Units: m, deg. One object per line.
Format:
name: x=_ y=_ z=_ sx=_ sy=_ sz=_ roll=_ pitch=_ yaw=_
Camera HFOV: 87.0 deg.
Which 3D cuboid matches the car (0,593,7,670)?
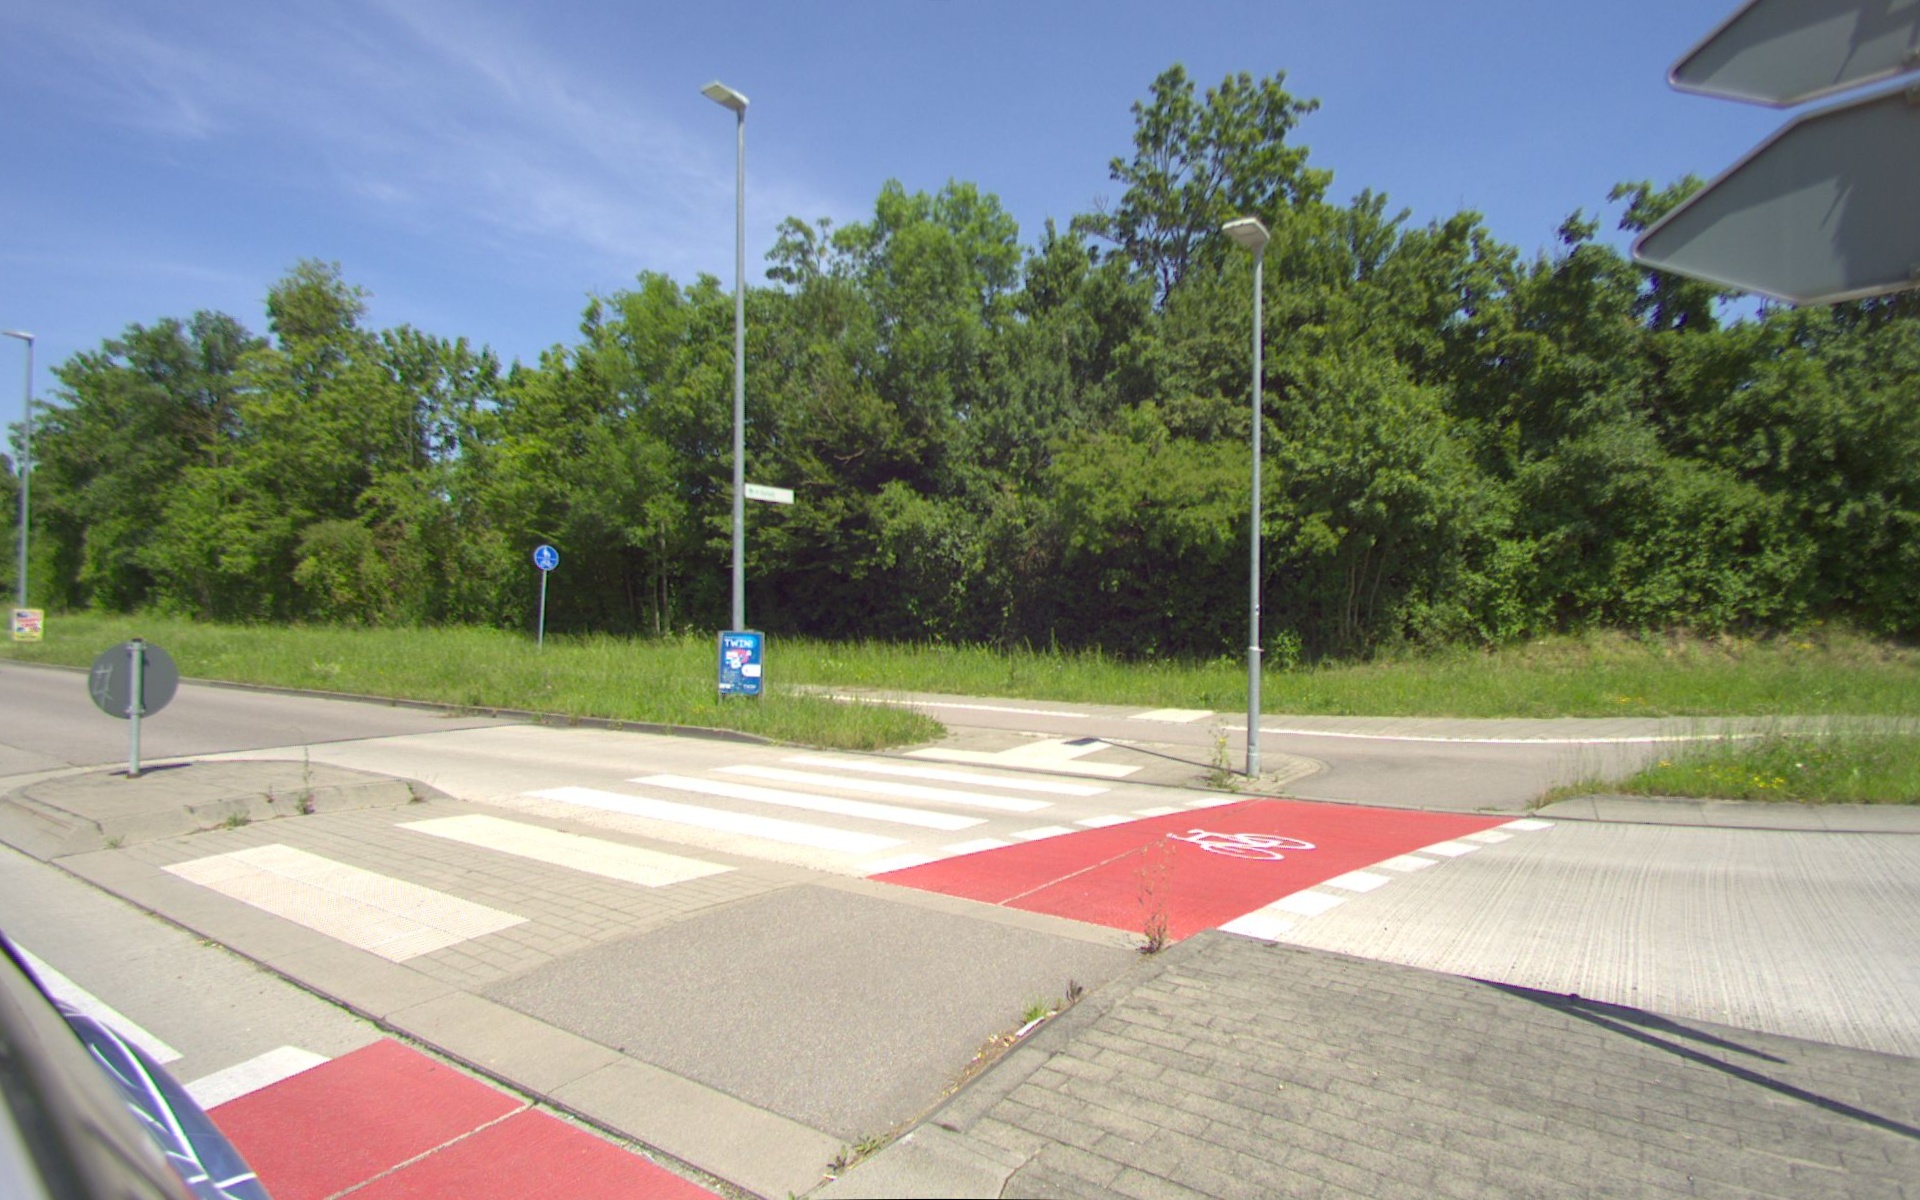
car: x=-22.416 y=0.693 z=21.571 sx=4.307 sy=1.608 sz=1.979 roll=-2 pitch=-3 yaw=31
